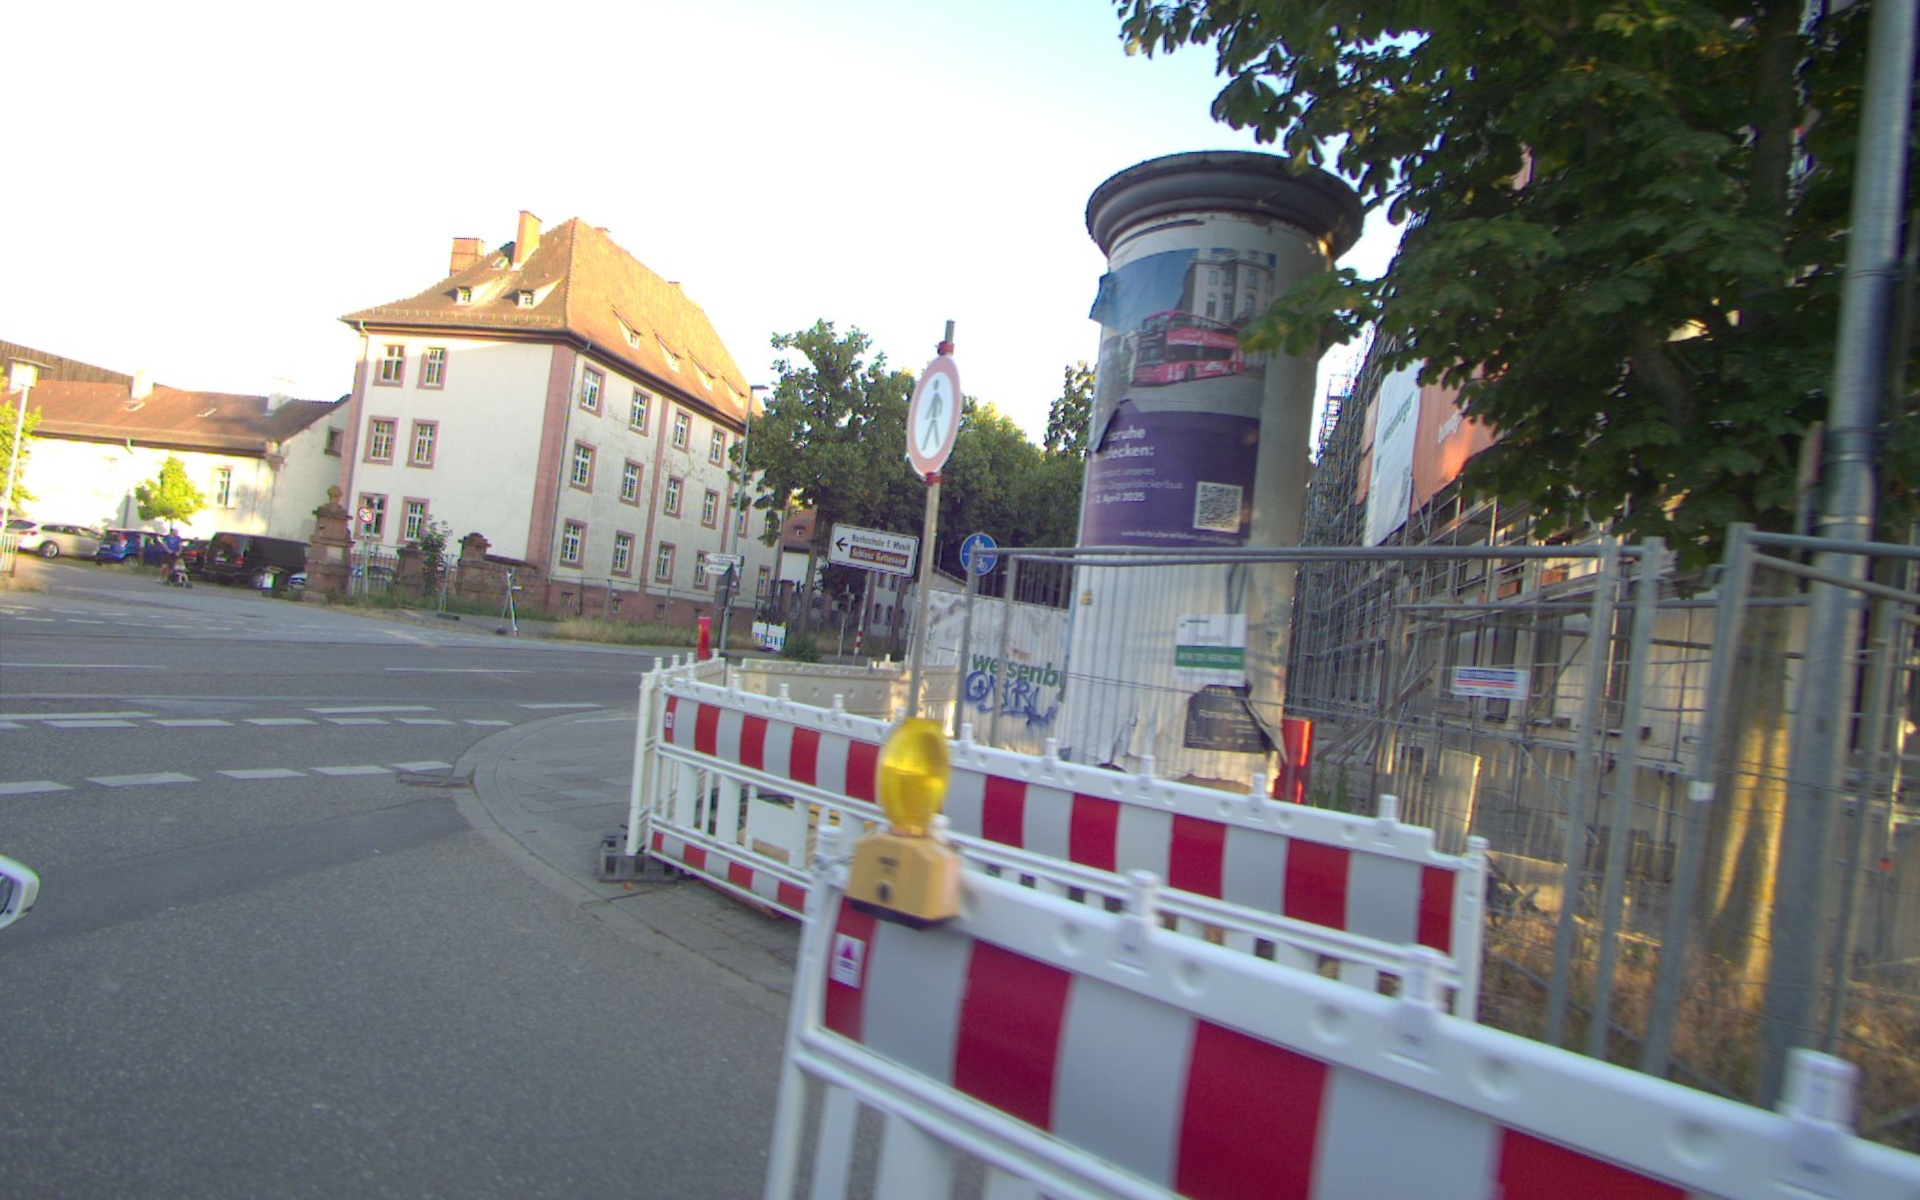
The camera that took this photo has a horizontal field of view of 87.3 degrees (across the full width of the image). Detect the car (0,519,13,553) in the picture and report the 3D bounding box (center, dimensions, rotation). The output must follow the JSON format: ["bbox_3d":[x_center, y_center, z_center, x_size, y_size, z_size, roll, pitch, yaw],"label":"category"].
[{"bbox_3d":[-43.712,-3.050,43.400,1.654,1.461,3.758,6,-3,13],"label":"car"}]

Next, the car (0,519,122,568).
[{"bbox_3d":[-37.533,-2.334,41.861,1.654,1.461,3.758,6,-3,13],"label":"car"}]

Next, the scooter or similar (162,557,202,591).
[{"bbox_3d":[-23.617,-0.790,30.549,0.791,0.900,0.516,6,-2,16],"label":"scooter or similar"}]

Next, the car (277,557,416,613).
[{"bbox_3d":[-22.182,-0.490,36.576,1.962,1.475,4.006,6,-3,13],"label":"car"}]

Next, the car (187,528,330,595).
[{"bbox_3d":[-26.453,-1.405,38.090,1.962,1.879,4.006,6,-3,13],"label":"car"}]

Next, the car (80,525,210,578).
[{"bbox_3d":[-33.042,-1.946,40.901,1.654,1.546,3.758,6,-3,13],"label":"car"}]

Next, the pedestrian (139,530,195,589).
[{"bbox_3d":[-24.410,-1.248,30.980,0.995,1.661,0.753,6,-2,17],"label":"pedestrian"}]

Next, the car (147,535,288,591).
[{"bbox_3d":[-28.804,-1.392,39.190,1.962,1.590,4.006,6,-3,13],"label":"car"}]

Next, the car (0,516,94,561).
[{"bbox_3d":[-39.730,-2.680,42.991,1.654,1.461,3.758,6,-3,13],"label":"car"}]

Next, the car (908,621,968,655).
[{"bbox_3d":[-1.608,2.866,75.211,3.923,2.037,2.003,7,-2,11],"label":"car"}]
